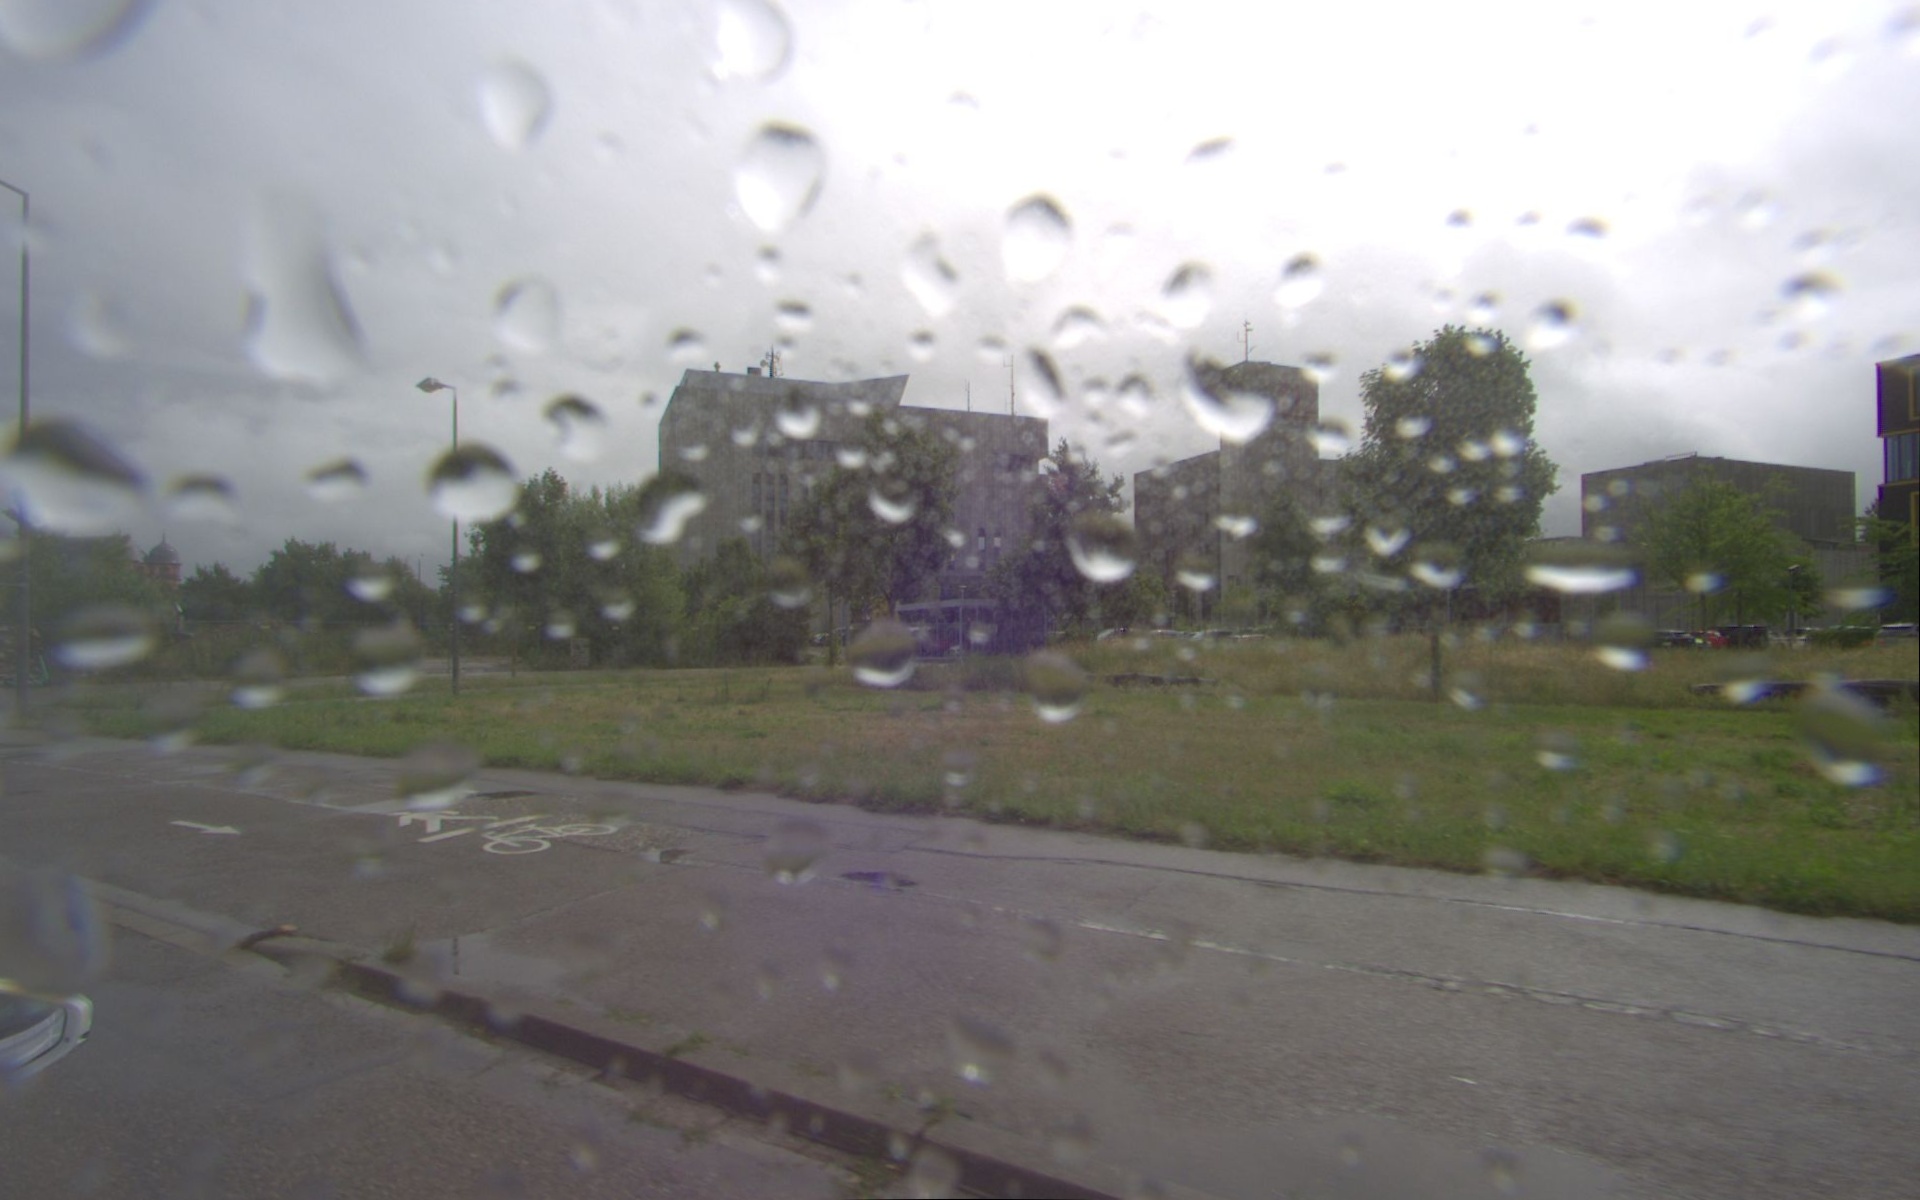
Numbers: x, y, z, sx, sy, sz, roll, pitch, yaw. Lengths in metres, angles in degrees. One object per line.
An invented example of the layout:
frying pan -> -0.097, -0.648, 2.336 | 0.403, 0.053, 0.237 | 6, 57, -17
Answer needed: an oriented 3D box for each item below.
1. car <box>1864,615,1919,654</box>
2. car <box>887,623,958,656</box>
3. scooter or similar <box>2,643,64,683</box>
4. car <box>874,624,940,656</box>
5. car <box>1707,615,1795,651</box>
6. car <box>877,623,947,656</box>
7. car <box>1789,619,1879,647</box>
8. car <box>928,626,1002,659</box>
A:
car -> 44.090, 1.586, 46.264 | 3.931, 1.742, 1.766 | 0, -2, -19
car -> -2.501, 2.635, 66.498 | 4.313, 1.981, 1.997 | 4, -3, -18
scooter or similar -> -29.096, 1.983, 31.448 | 1.264, 1.202, 0.501 | 4, -2, -24
car -> -3.817, 2.875, 71.911 | 4.313, 2.003, 1.997 | 4, -3, -18
car -> 40.745, 1.701, 51.582 | 3.933, 1.794, 1.803 | 0, -1, -21
car -> -3.317, 2.727, 68.976 | 4.313, 1.995, 1.997 | 4, -3, -18
car -> 52.419, 1.977, 60.056 | 4.706, 1.612, 1.996 | 0, -1, -20
car -> 0.287, 2.591, 60.614 | 4.099, 1.742, 1.816 | 4, -3, -19
